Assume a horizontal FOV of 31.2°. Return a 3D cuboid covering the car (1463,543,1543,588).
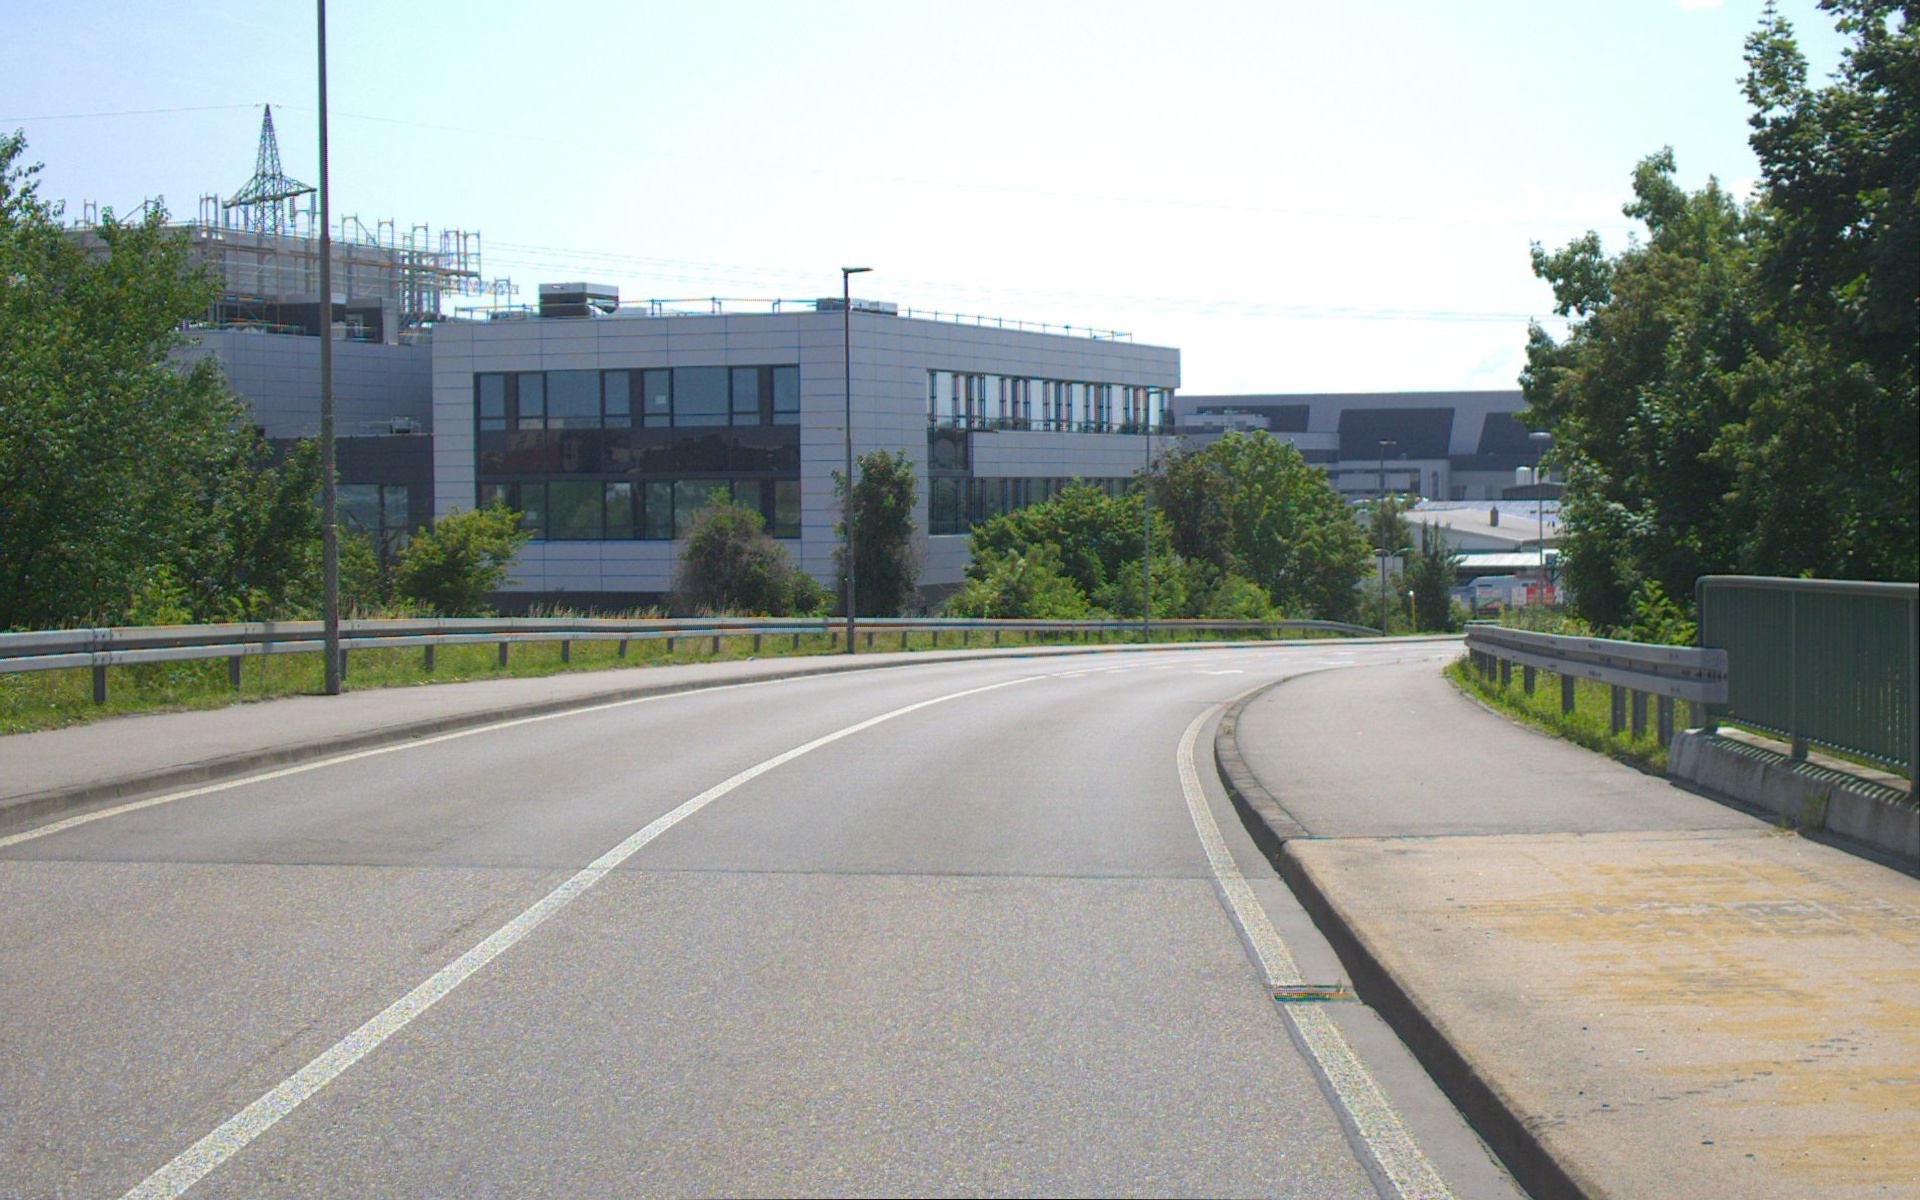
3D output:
[{"bbox_3d":[31.953,-2.035,202.369,1.994,2.599,4.364,0,1,-40],"label":"car"}]
